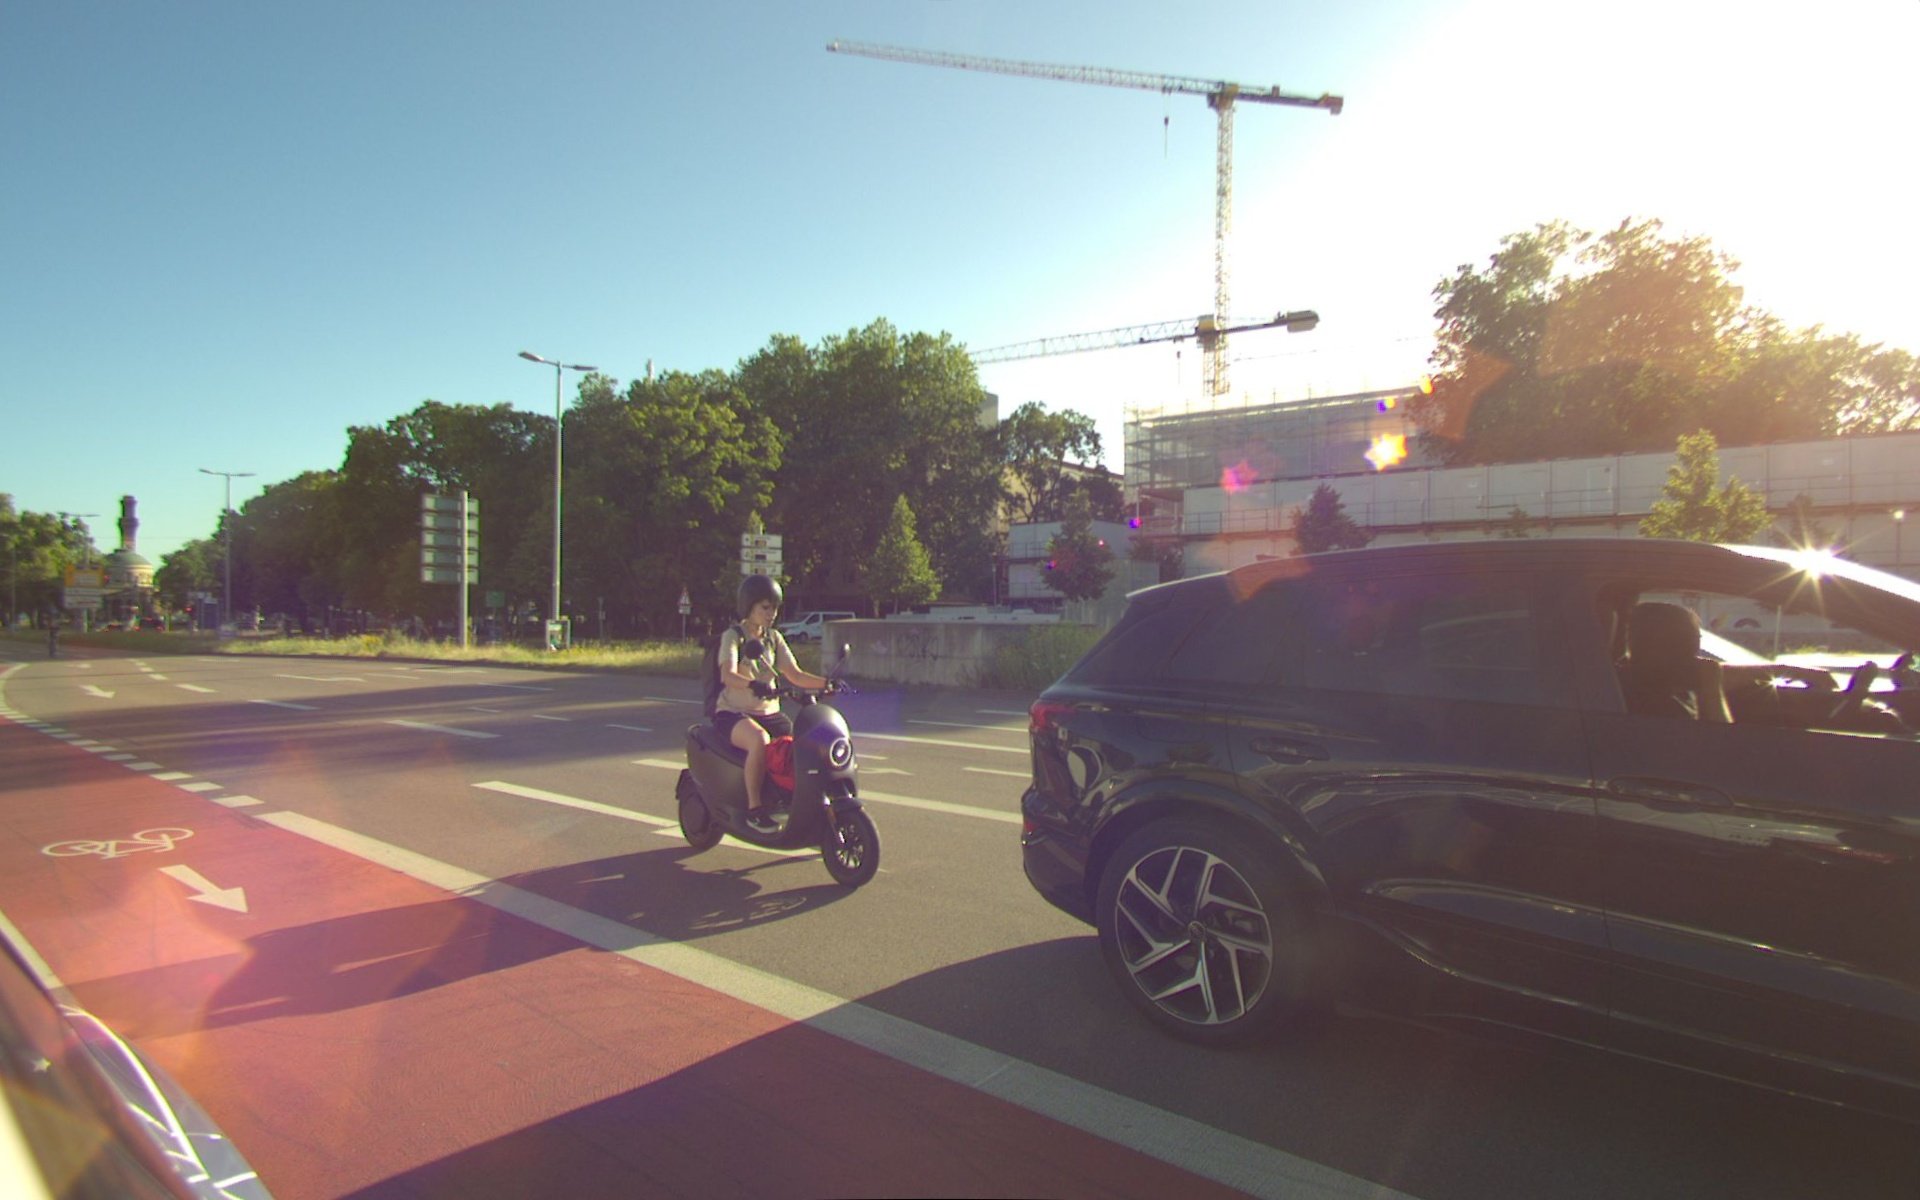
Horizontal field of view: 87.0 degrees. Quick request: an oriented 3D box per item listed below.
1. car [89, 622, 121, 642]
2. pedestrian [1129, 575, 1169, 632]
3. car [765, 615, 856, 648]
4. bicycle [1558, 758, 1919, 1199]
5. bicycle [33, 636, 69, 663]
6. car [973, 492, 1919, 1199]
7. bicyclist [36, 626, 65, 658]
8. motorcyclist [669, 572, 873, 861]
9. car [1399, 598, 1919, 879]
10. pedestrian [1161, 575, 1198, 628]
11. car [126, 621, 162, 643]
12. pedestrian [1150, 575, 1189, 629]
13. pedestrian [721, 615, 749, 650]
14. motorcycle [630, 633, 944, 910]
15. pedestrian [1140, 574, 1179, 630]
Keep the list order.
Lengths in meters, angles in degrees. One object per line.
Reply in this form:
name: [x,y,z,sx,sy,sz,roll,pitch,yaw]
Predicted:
car: [-79.881,2.949,94.540,3.945,1.802,1.725,-1,0,41]
pedestrian: [6.883,0.141,36.826,1.135,2.029,0.930,-1,0,35]
car: [-9.070,1.887,61.857,2.065,1.950,5.443,-1,-2,42]
bicycle: [1.302,0.777,0.321,1.829,1.227,0.610,-2,-1,39]
bicycle: [-40.218,2.181,44.749,2.806,1.124,0.843,-1,-1,41]
car: [2.412,0.587,3.039,4.677,1.647,1.753,-1,0,40]
bicyclist: [-40.255,1.861,44.780,0.829,1.358,0.843,-2,-1,41]
motorcyclist: [-1.083,0.603,5.782,0.917,1.485,0.717,-2,-1,41]
car: [4.970,0.763,6.559,3.603,1.497,1.477,-2,-1,41]
pedestrian: [8.495,0.063,39.199,1.135,2.029,0.930,-1,0,35]
car: [-71.447,2.773,88.618,3.998,1.841,1.796,-1,0,41]
pedestrian: [7.951,0.071,38.400,1.135,2.029,0.930,-1,0,35]
pedestrian: [-11.921,1.705,53.598,1.018,1.845,0.977,-1,0,37]
motorcycle: [-1.037,0.850,5.742,1.883,1.303,0.715,-2,-1,41]
pedestrian: [7.421,0.079,37.620,1.135,2.029,0.930,-1,0,35]
